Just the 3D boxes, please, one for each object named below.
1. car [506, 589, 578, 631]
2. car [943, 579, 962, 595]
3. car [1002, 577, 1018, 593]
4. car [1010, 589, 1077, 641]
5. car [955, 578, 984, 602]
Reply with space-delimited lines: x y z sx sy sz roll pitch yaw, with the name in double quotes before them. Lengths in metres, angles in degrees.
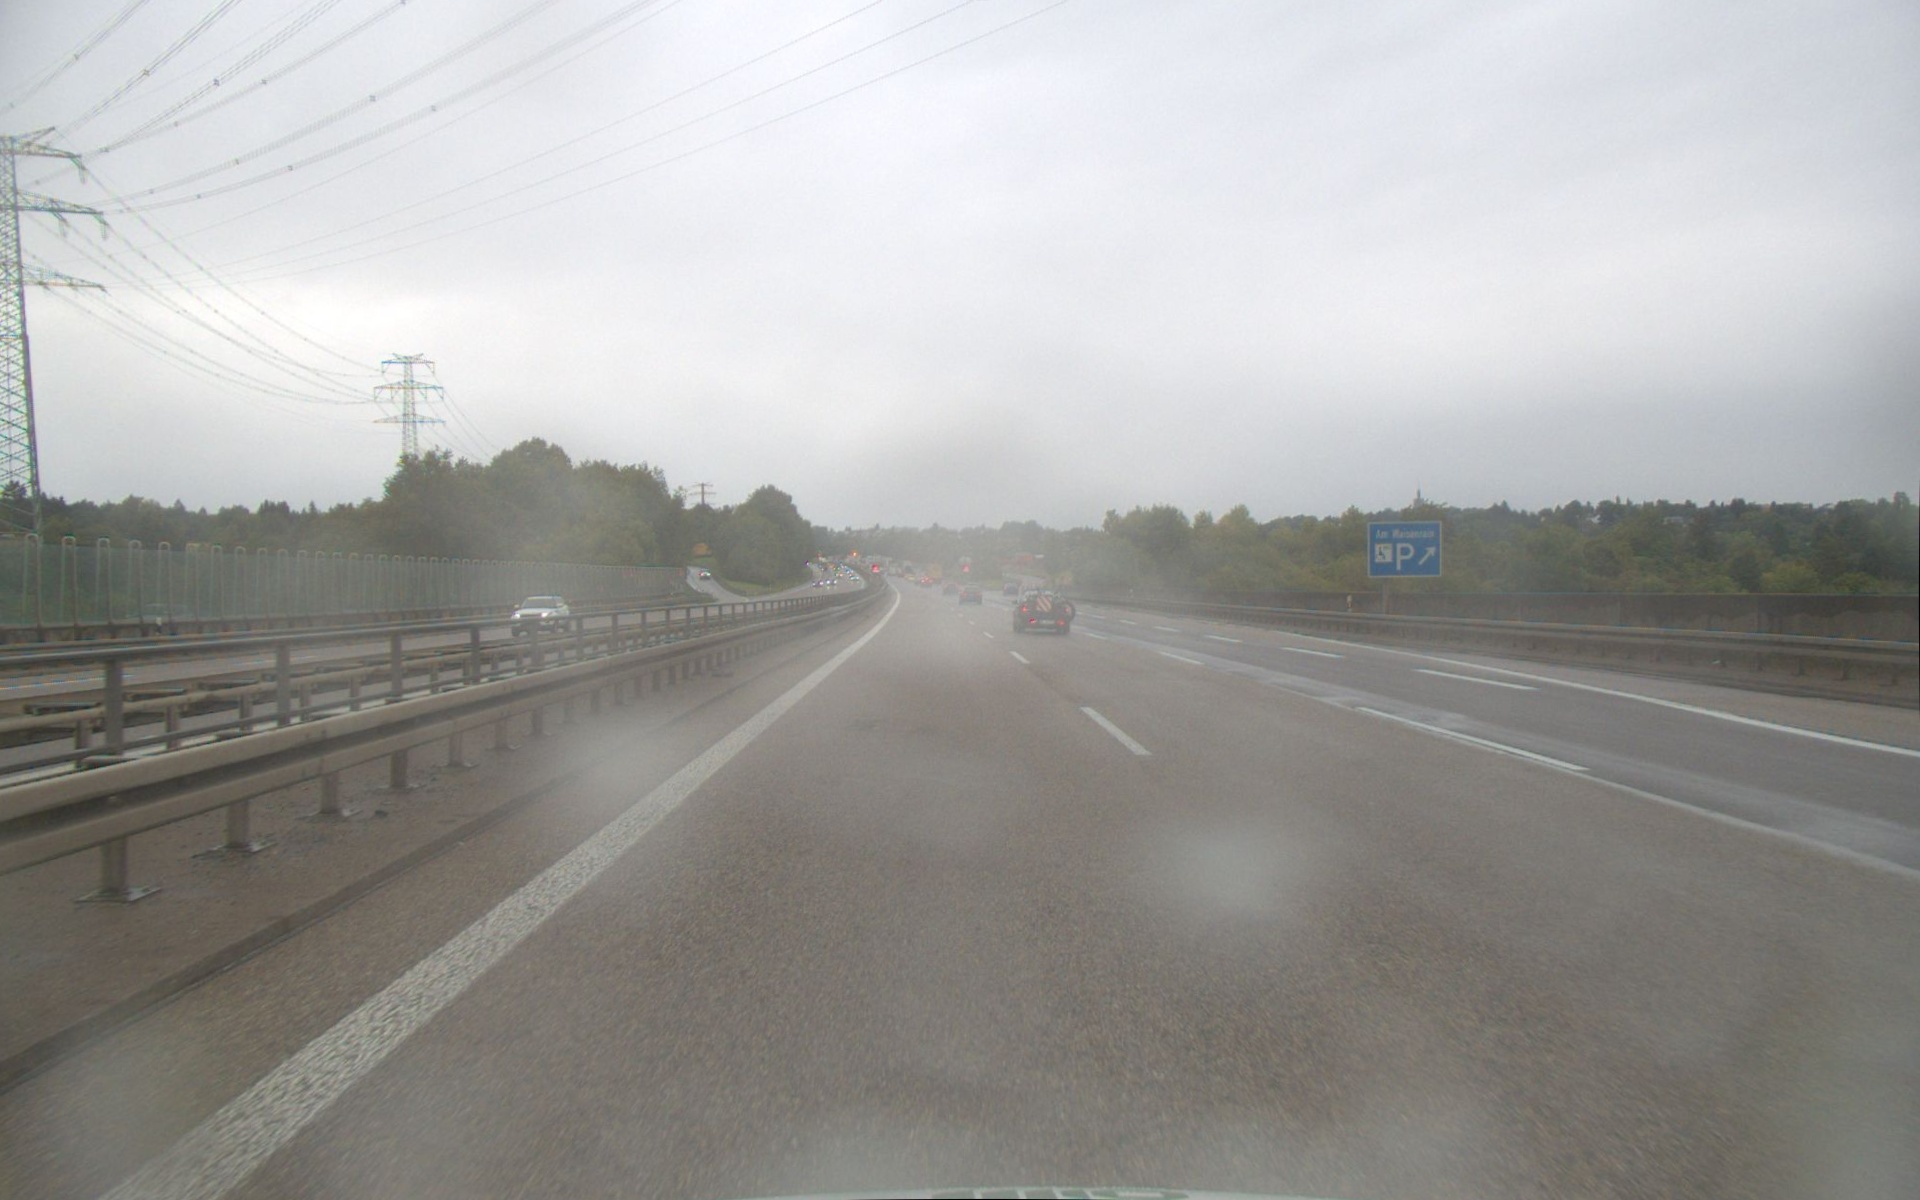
"car" -17.894 0.404 71.018 1.953 1.658 4.712 -1 1 -1
"car" -0.905 -1.531 191.693 1.954 1.656 3.997 -1 1 -4
"car" 5.928 -1.790 195.898 1.882 1.739 4.002 -1 1 3
"car" 2.843 0.481 57.386 2.016 1.700 5.521 0 0 0
"car" 0.749 -0.788 132.578 1.954 1.791 3.997 -1 1 -4
